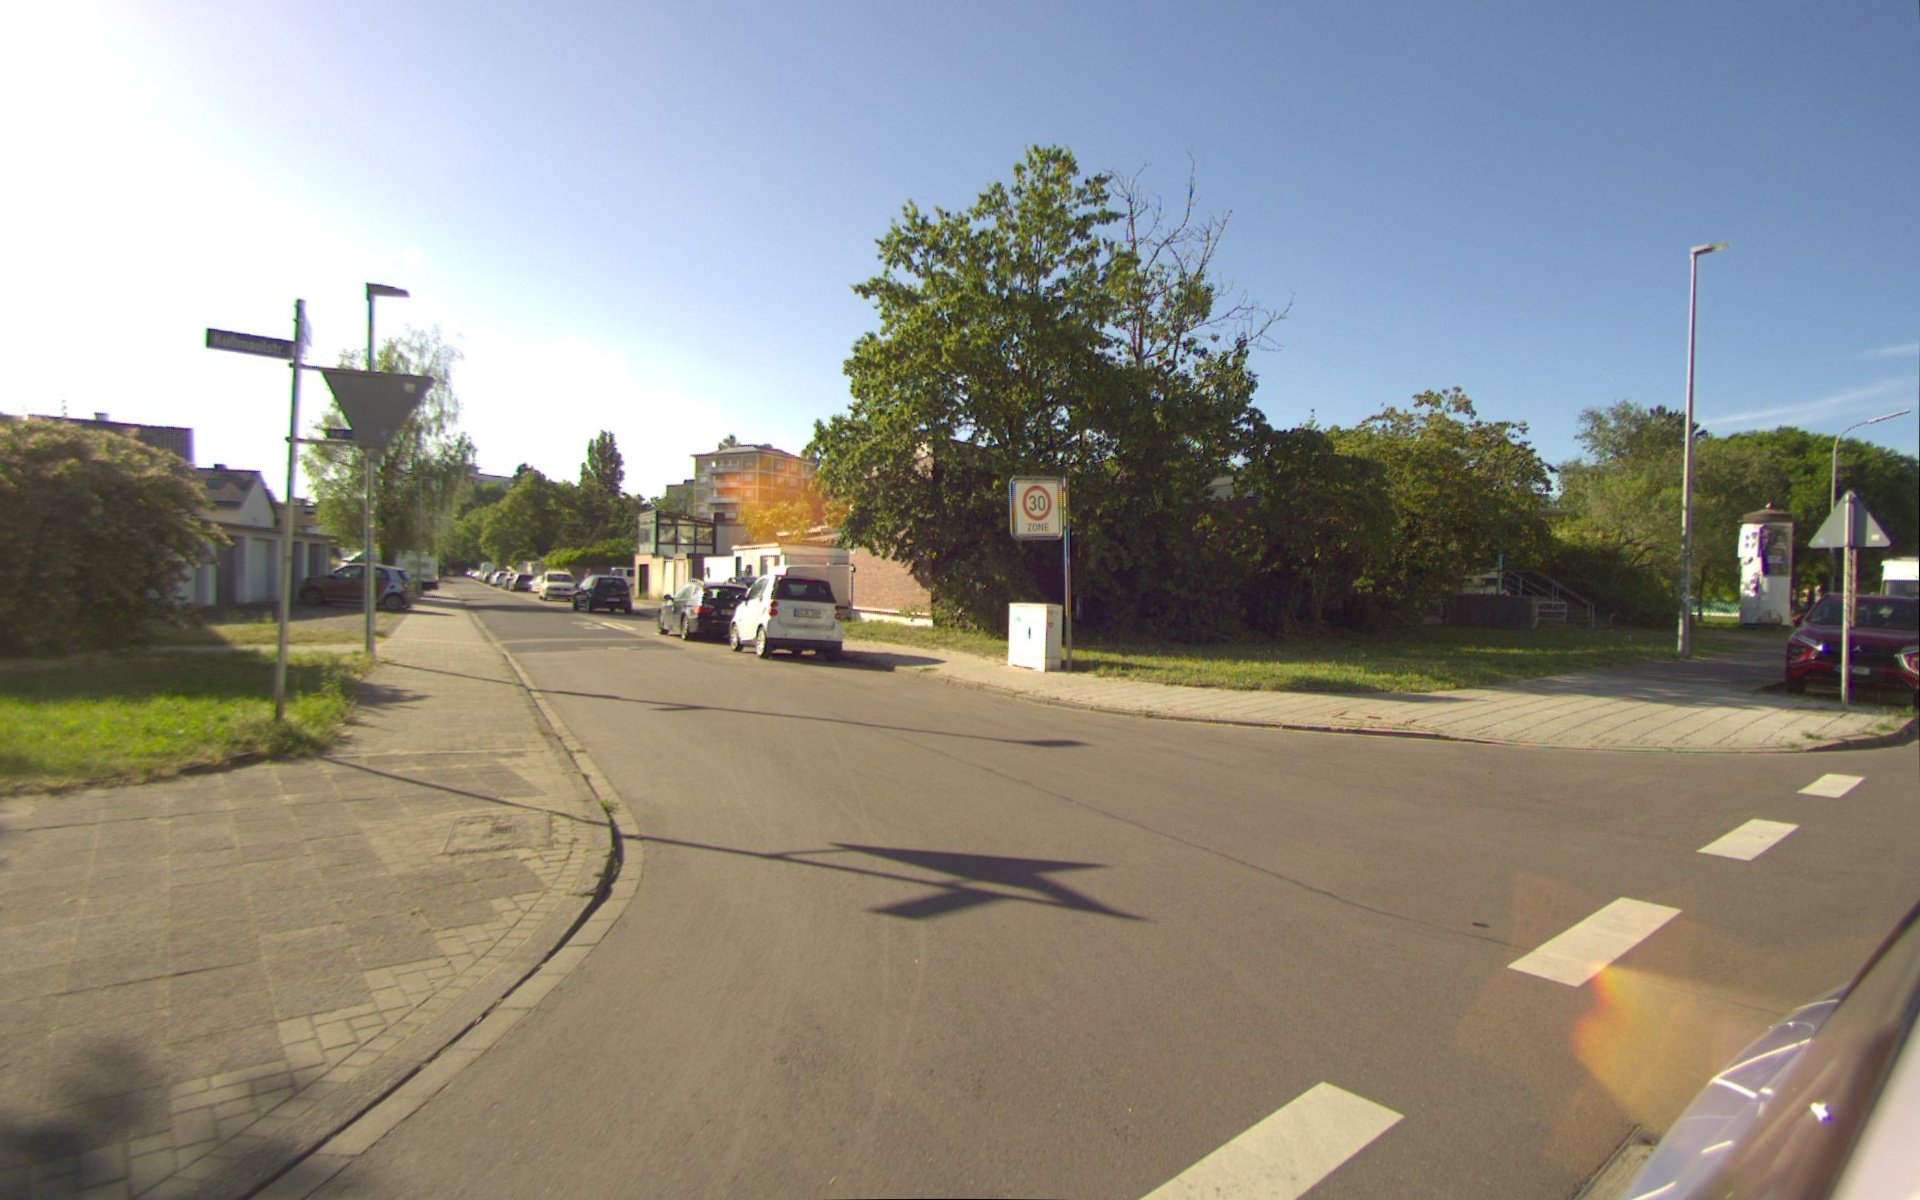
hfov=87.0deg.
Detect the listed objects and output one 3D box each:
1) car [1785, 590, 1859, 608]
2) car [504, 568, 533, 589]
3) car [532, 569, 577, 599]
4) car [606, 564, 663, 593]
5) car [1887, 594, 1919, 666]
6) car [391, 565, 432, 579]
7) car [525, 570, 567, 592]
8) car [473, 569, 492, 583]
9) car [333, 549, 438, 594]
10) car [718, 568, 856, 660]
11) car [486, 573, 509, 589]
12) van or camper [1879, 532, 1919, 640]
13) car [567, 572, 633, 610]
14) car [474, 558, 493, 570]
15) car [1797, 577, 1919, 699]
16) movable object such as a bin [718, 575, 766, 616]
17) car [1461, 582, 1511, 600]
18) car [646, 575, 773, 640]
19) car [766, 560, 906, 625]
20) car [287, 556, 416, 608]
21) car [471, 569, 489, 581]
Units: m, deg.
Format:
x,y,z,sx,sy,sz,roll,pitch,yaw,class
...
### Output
x,y,z,sx,sy,sz,roll,pitch,yaw,class
69.991,-0.106,82.194,1.716,1.354,4.429,2,-1,-43,car
-34.776,-1.735,79.683,1.817,1.579,4.253,0,1,-27,car
-22.742,-0.900,56.627,1.818,1.579,4.251,0,1,-29,car
-24.869,-1.647,77.368,1.687,2.115,3.993,1,1,34,car
22.127,0.653,22.668,3.933,1.492,1.693,0,2,-43,car
-63.325,-3.251,116.880,3.928,1.571,1.998,0,1,-39,car
-30.954,-1.435,75.663,1.821,1.579,4.242,0,1,-38,car
-59.471,-3.004,126.066,1.818,1.579,4.252,0,1,-29,car
-32.768,-1.599,57.798,4.980,2.429,1.999,0,1,-37,car
-3.408,0.238,19.583,1.666,1.583,2.968,4,-1,-29,car
-48.159,-1.968,105.395,1.818,1.579,4.252,0,1,-29,car
28.229,-0.371,28.894,6.738,2.880,2.499,0,2,-44,van or camper
-14.398,-0.383,40.393,1.818,1.428,4.251,0,1,-29,car
-66.639,-5.059,141.514,1.818,1.580,4.249,0,1,-32,car
15.307,0.543,16.712,1.777,1.700,4.569,5,4,45,car
-7.760,-0.194,35.888,1.215,1.390,2.574,1,1,-22,movable object such as a bin
50.023,-0.873,96.238,3.867,1.631,1.968,2,1,44,car
-6.245,0.115,24.886,1.929,1.428,4.505,0,1,-29,car
-3.822,-0.235,31.217,3.918,1.892,1.702,0,1,-28,car
-21.164,-0.623,35.330,3.516,1.507,1.677,4,0,-19,car
-61.838,-3.209,130.447,1.818,1.579,4.252,0,1,-29,car
